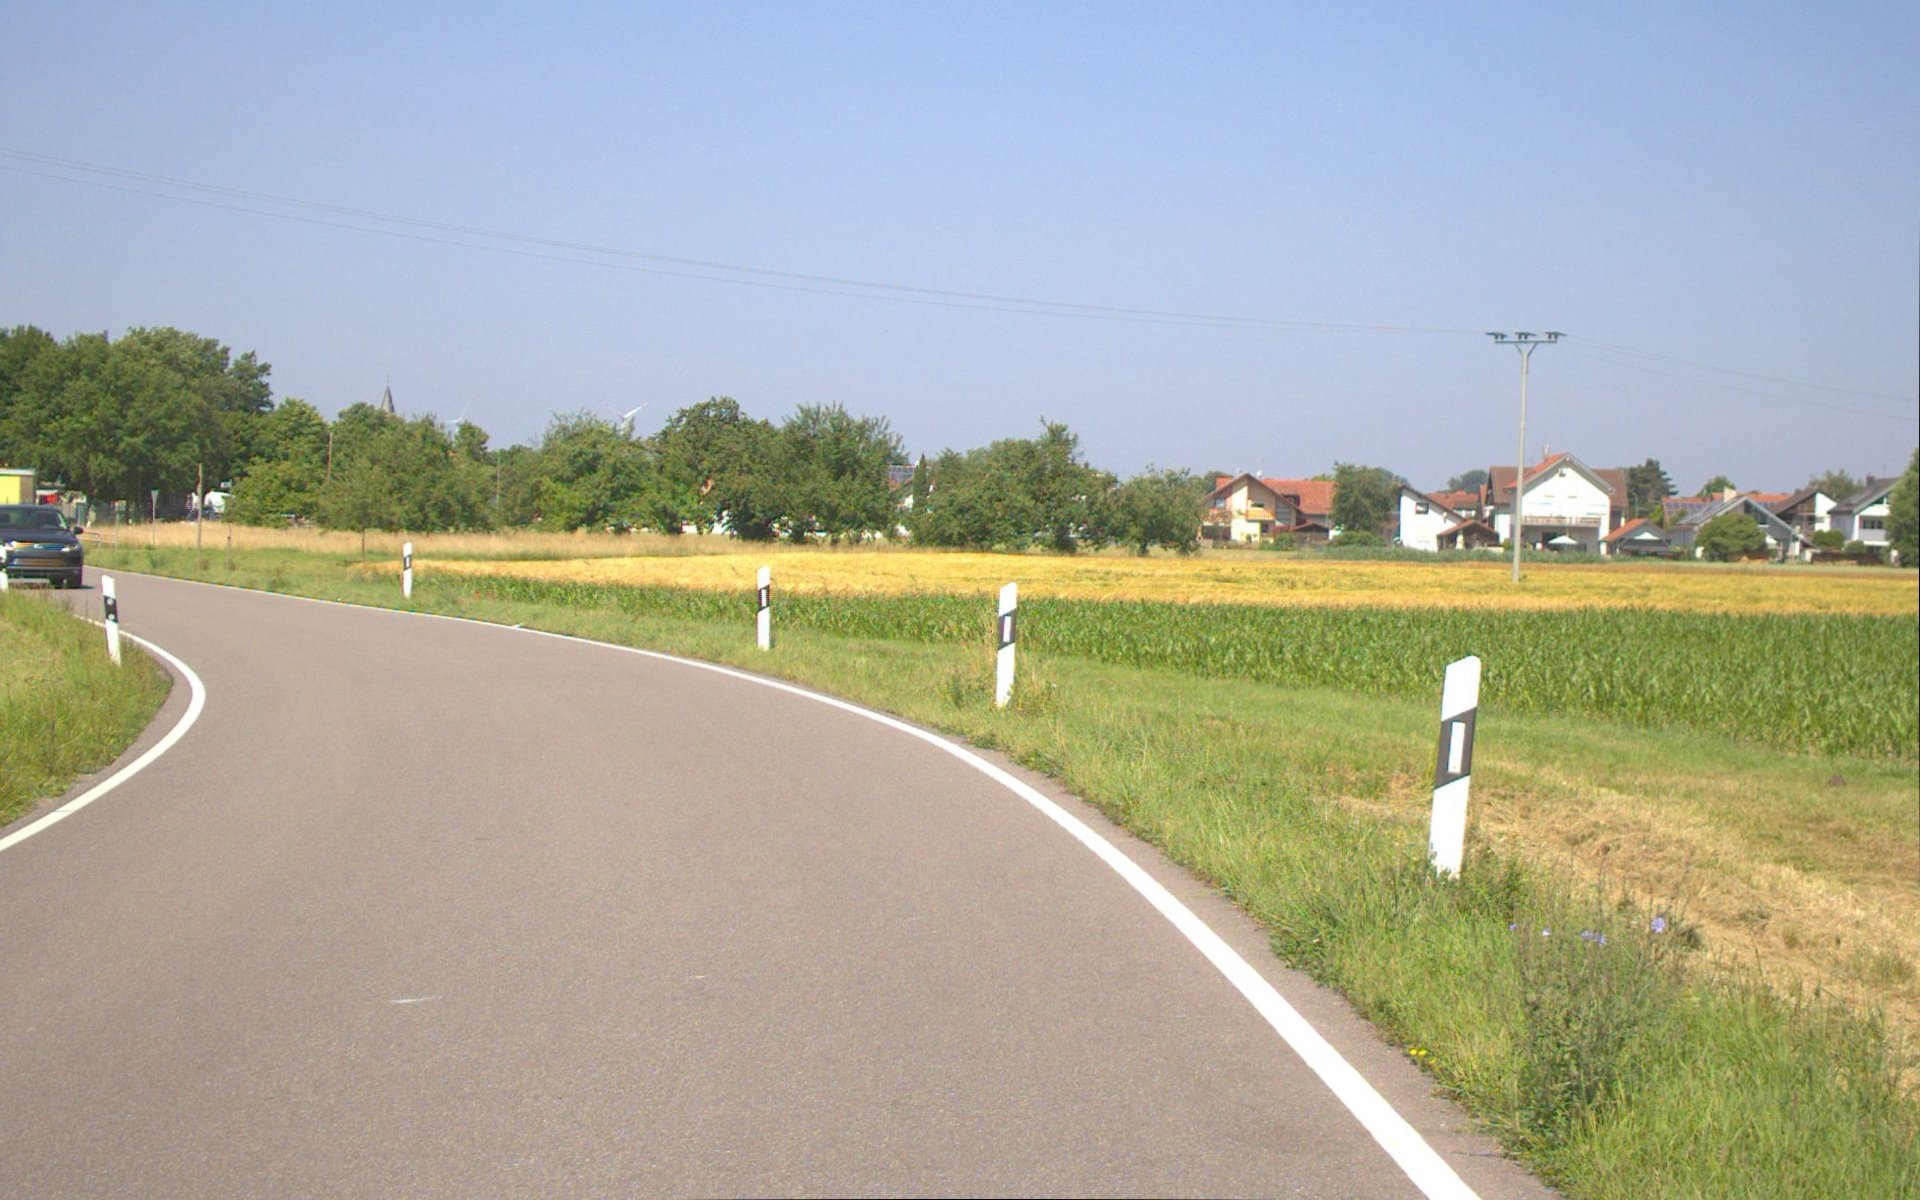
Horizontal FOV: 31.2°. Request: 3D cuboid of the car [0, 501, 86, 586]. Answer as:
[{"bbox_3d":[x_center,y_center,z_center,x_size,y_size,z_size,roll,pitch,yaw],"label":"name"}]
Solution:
[{"bbox_3d":[-19.537,-1.206,71.729,1.886,1.709,4.015,0,2,-24],"label":"car"}]
